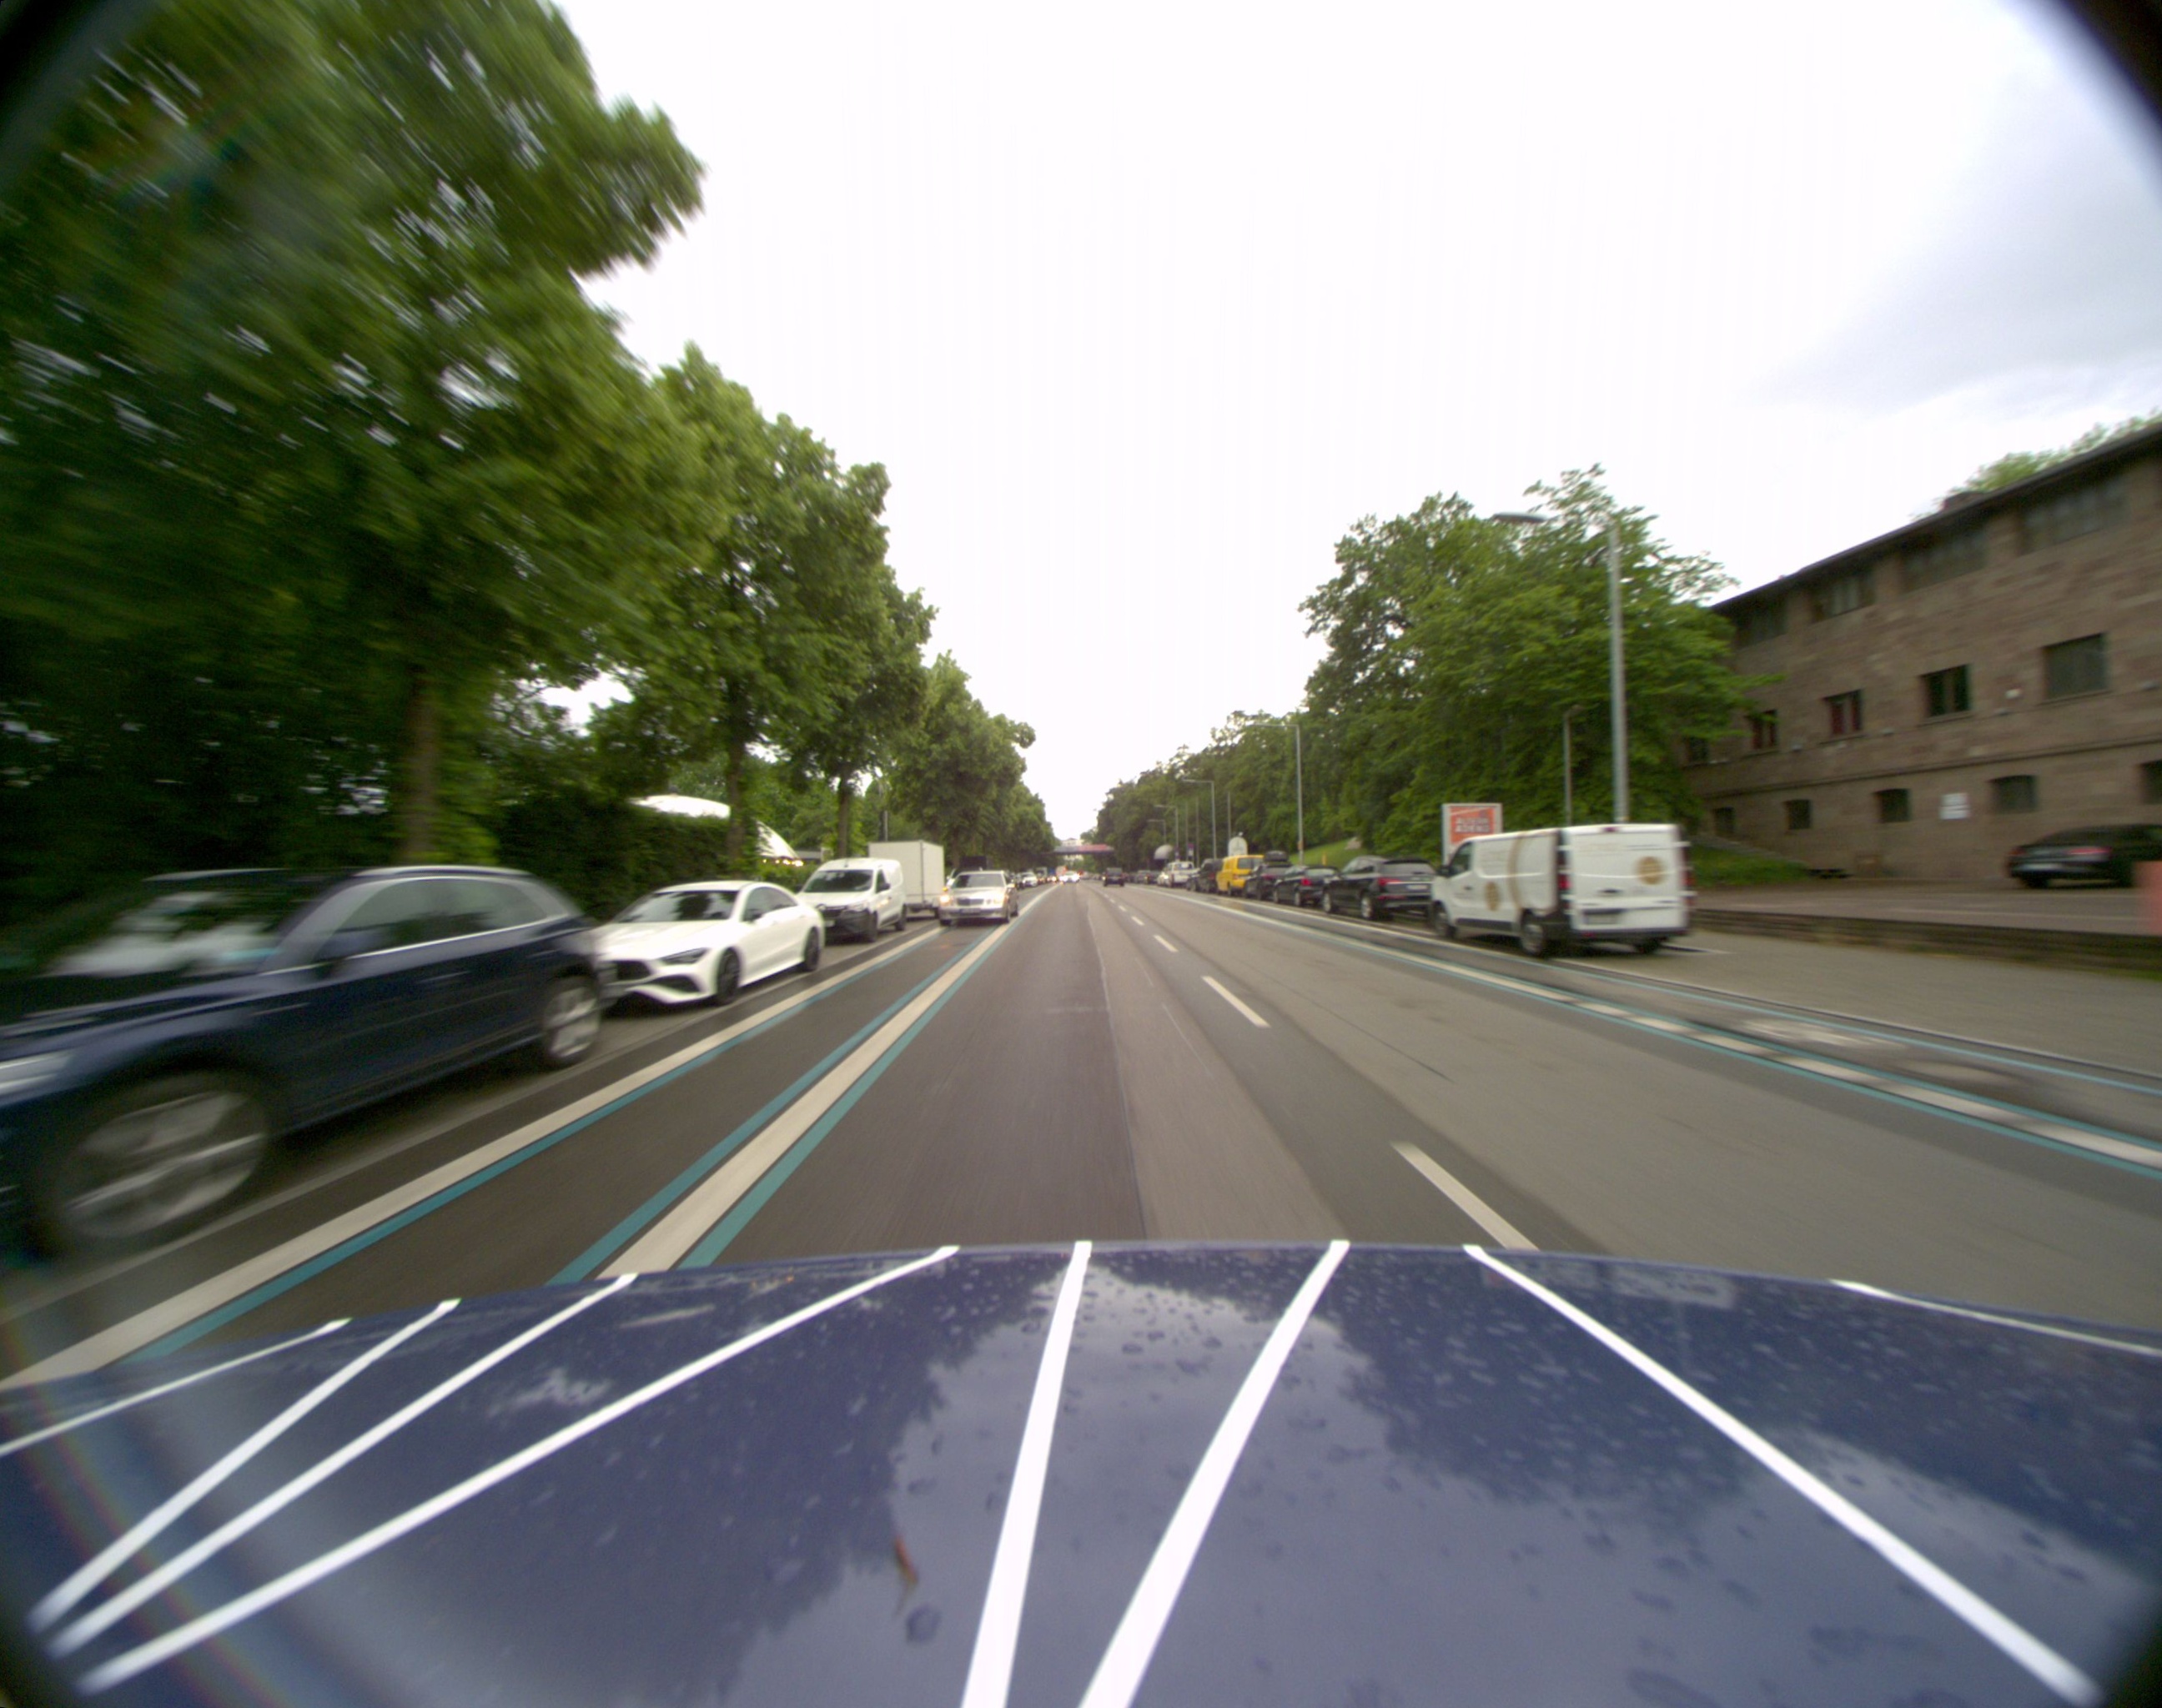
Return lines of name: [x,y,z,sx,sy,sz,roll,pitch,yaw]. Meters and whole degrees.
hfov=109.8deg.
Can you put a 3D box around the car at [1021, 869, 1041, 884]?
car: [-5.045,2.260,77.118,1.824,1.477,4.292,-2,-1,-1]

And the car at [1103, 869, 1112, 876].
car: [6.107,4.442,178.481,1.823,1.585,3.744,0,-2,-3]

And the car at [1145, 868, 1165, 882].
car: [7.571,2.099,77.687,1.680,1.363,3.586,0,-1,0]

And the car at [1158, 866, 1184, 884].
car: [7.745,1.797,65.509,1.731,1.439,4.596,-1,-1,0]

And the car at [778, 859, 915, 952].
car: [-5.091,1.043,17.123,1.726,1.780,4.345,-2,-1,-1]

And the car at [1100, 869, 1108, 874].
car: [6.157,4.575,203.050,1.870,1.280,3.999,-1,-1,-3]

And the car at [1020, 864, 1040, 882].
car: [-5.488,2.038,82.667,1.847,1.865,4.616,-2,-1,-1]

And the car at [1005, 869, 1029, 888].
car: [-5.299,2.003,63.065,1.690,1.374,4.083,-2,-1,-2]

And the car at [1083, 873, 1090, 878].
car: [1.524,5.993,210.923,1.828,1.453,3.883,-3,-2,-1]

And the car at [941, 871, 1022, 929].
car: [-2.702,1.222,21.553,1.726,1.389,4.591,-2,-1,-1]

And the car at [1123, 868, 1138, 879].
car: [7.231,2.891,111.655,1.822,1.533,4.544,-1,-2,0]

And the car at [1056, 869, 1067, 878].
car: [-3.557,3.566,138.479,1.733,1.578,3.671,-3,-1,-1]

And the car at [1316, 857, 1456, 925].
car: [7.996,0.923,20.445,1.829,1.606,4.663,0,-1,-1]

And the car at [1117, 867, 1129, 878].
car: [7.223,3.278,131.326,1.822,1.848,3.744,-1,-2,0]

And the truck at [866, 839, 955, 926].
truck: [-5.004,0.806,22.788,1.723,2.319,4.000,-2,-1,-1]

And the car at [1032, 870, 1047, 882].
car: [-5.104,2.658,93.340,1.581,1.381,4.189,-3,-1,-1]

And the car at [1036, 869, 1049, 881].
car: [-5.079,2.756,100.893,1.581,1.381,4.189,-3,-1,-1]

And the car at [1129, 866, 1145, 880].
car: [7.539,2.560,102.548,1.822,1.754,4.001,-1,-2,0]

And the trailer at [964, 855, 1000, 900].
trailer: [-5.221,1.215,40.398,1.350,2.256,3.564,-2,-1,-1]

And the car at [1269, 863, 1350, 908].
car: [7.977,1.070,26.929,1.612,1.437,4.038,0,-1,-1]

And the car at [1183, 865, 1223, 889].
car: [7.854,1.477,49.317,1.688,1.450,4.611,0,-1,-2]

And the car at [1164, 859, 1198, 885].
car: [7.793,1.410,59.502,1.877,1.965,4.735,0,-1,-2]

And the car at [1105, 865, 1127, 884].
car: [3.048,1.770,67.293,1.715,1.608,4.150,1,-1,-1]

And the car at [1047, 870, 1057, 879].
car: [-5.520,3.860,146.325,1.733,1.578,3.671,-3,-1,-1]

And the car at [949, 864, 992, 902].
car: [-5.011,1.299,34.958,1.761,1.575,4.412,-2,-1,-7]

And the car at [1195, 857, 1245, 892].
car: [7.884,1.159,43.534,1.881,1.909,5.204,0,-1,-1]

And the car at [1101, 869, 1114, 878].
car: [5.657,4.149,162.091,1.824,1.731,3.740,0,-2,-13]

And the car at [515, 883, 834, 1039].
car: [-4.890,1.177,10.044,1.664,1.418,4.618,-2,-1,0]

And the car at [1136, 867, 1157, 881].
car: [7.202,2.212,84.322,1.795,1.459,4.328,0,-1,-3]

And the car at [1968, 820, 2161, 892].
car: [23.958,0.001,17.610,4.315,1.424,2.262,-3,0,-4]

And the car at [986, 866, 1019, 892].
car: [-5.259,1.657,51.414,1.694,1.562,4.339,-4,-1,-1]

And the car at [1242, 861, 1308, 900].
car: [8.007,1.084,31.692,1.714,1.495,4.151,-1,-1,1]

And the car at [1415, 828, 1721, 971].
car: [7.778,0.671,12.976,1.983,1.903,5.228,-1,-1,2]

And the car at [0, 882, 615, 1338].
car: [-5.005,1.020,4.334,1.999,1.551,4.642,-2,-1,-3]

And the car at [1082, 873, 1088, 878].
car: [1.199,6.759,236.589,1.823,1.585,3.744,0,-2,-3]

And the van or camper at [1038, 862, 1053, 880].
van or camper: [-5.656,2.733,121.706,2.129,2.694,6.847,-3,-1,-1]

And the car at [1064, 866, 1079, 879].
car: [-1.158,2.338,96.869,1.828,1.453,3.882,-3,-1,-1]

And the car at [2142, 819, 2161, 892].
car: [24.164,-0.120,14.492,4.783,1.470,2.191,-3,-2,-1]

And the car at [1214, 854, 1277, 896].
car: [7.993,0.997,37.320,1.999,1.901,4.845,-1,-1,-1]

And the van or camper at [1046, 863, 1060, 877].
van or camper: [-5.571,3.214,152.633,2.643,2.617,5.743,-2,-1,-1]

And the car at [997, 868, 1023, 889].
car: [-5.304,1.833,57.047,1.694,1.417,3.999,-2,-1,-3]
